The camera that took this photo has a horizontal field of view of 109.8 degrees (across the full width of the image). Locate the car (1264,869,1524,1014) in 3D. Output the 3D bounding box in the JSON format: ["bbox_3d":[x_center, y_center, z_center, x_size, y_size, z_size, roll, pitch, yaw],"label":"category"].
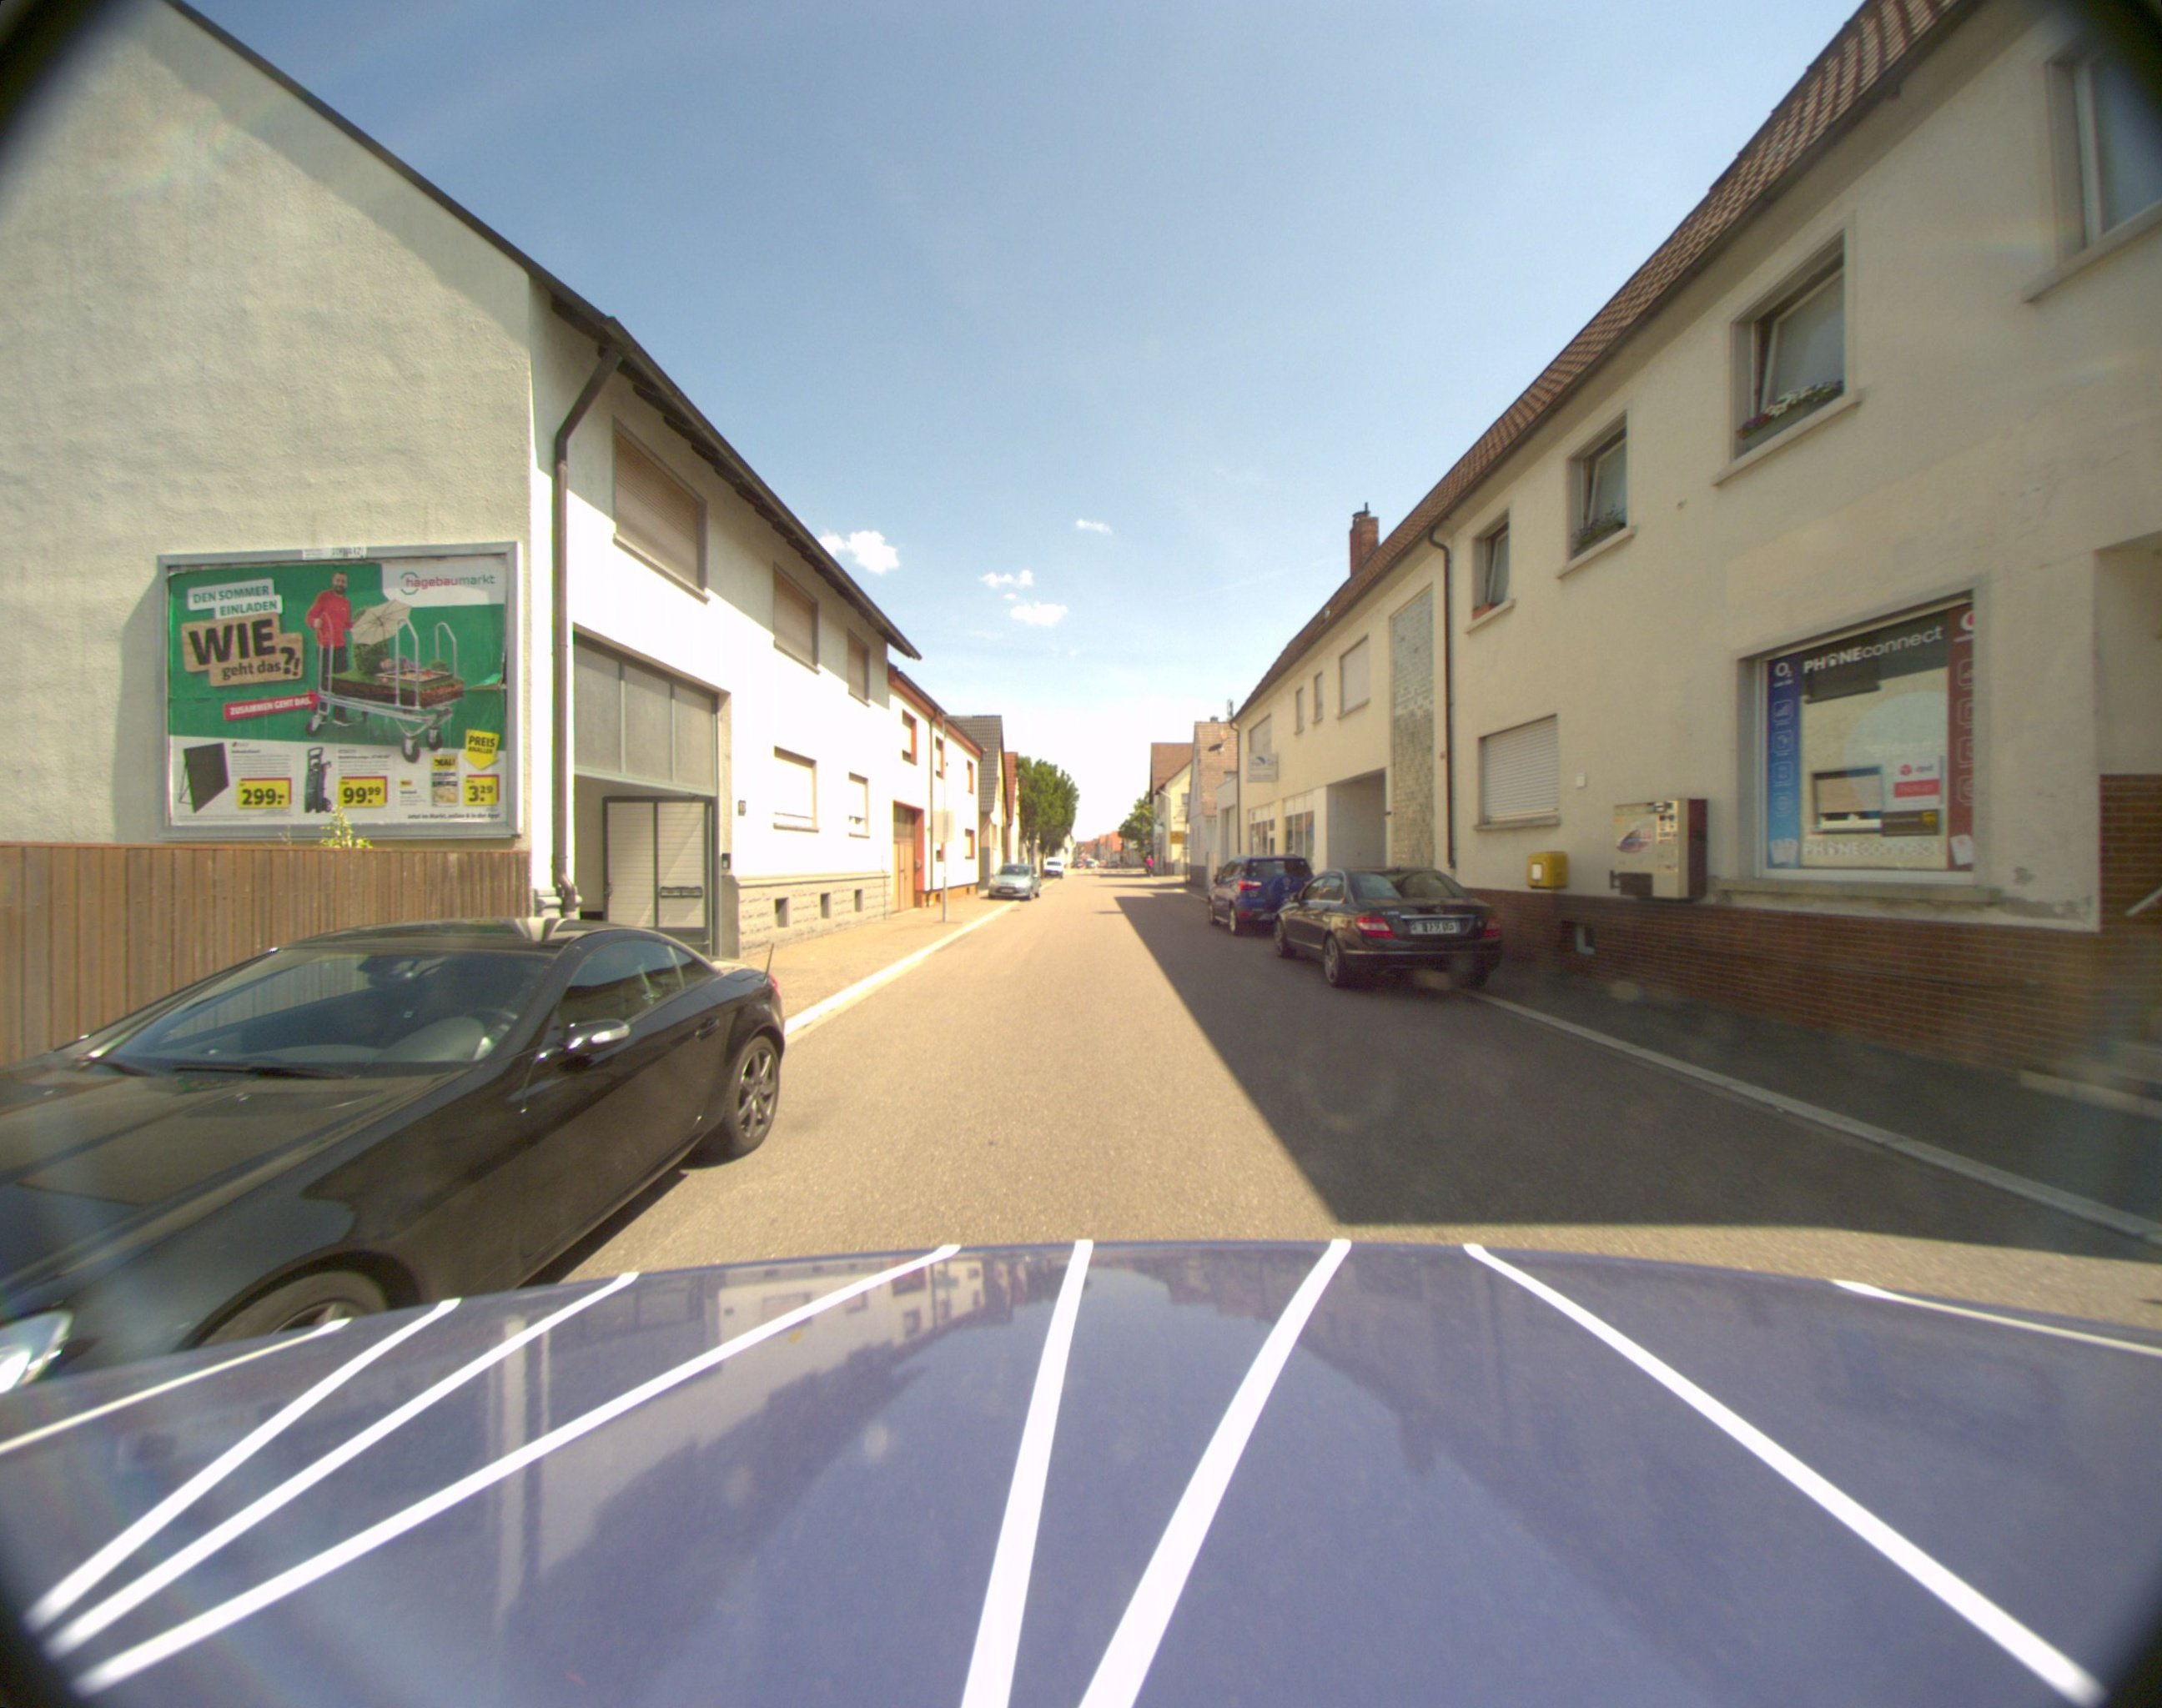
[{"bbox_3d":[3.775,0.954,10.076,1.702,1.403,4.390,-1,0,1],"label":"car"}]

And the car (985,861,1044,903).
[{"bbox_3d":[-2.641,1.095,31.085,1.725,1.473,3.751,3,0,5],"label":"car"}]

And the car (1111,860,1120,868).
[{"bbox_3d":[6.691,1.857,146.362,1.726,1.385,4.171,-1,-3,2],"label":"car"}]

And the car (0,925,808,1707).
[{"bbox_3d":[-2.693,1.090,2.736,1.820,1.268,4.147,-1,0,1],"label":"car"}]

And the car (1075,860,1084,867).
[{"bbox_3d":[-0.262,2.081,164.701,1.848,1.385,4.169,-1,-3,-2],"label":"car"}]

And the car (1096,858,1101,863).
[{"bbox_3d":[5.527,2.023,238.538,1.726,1.385,4.171,-1,-3,2],"label":"car"}]

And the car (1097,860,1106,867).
[{"bbox_3d":[4.199,1.909,155.097,1.598,1.385,4.168,-1,0,1],"label":"car"}]

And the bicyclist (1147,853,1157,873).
[{"bbox_3d":[6.052,0.752,64.983,0.748,1.627,0.957,-1,0,4],"label":"bicyclist"}]

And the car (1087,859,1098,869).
[{"bbox_3d":[1.958,1.721,131.026,1.597,1.533,4.201,-2,0,3],"label":"car"}]

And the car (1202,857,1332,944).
[{"bbox_3d":[3.853,0.890,16.456,1.721,1.630,4.148,1,0,0],"label":"car"}]

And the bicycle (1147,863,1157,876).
[{"bbox_3d":[6.068,1.297,65.011,0.744,1.041,1.941,-1,0,4],"label":"bicycle"}]

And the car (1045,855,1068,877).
[{"bbox_3d":[-2.147,1.067,67.639,1.692,1.831,4.764,2,0,1],"label":"car"}]
